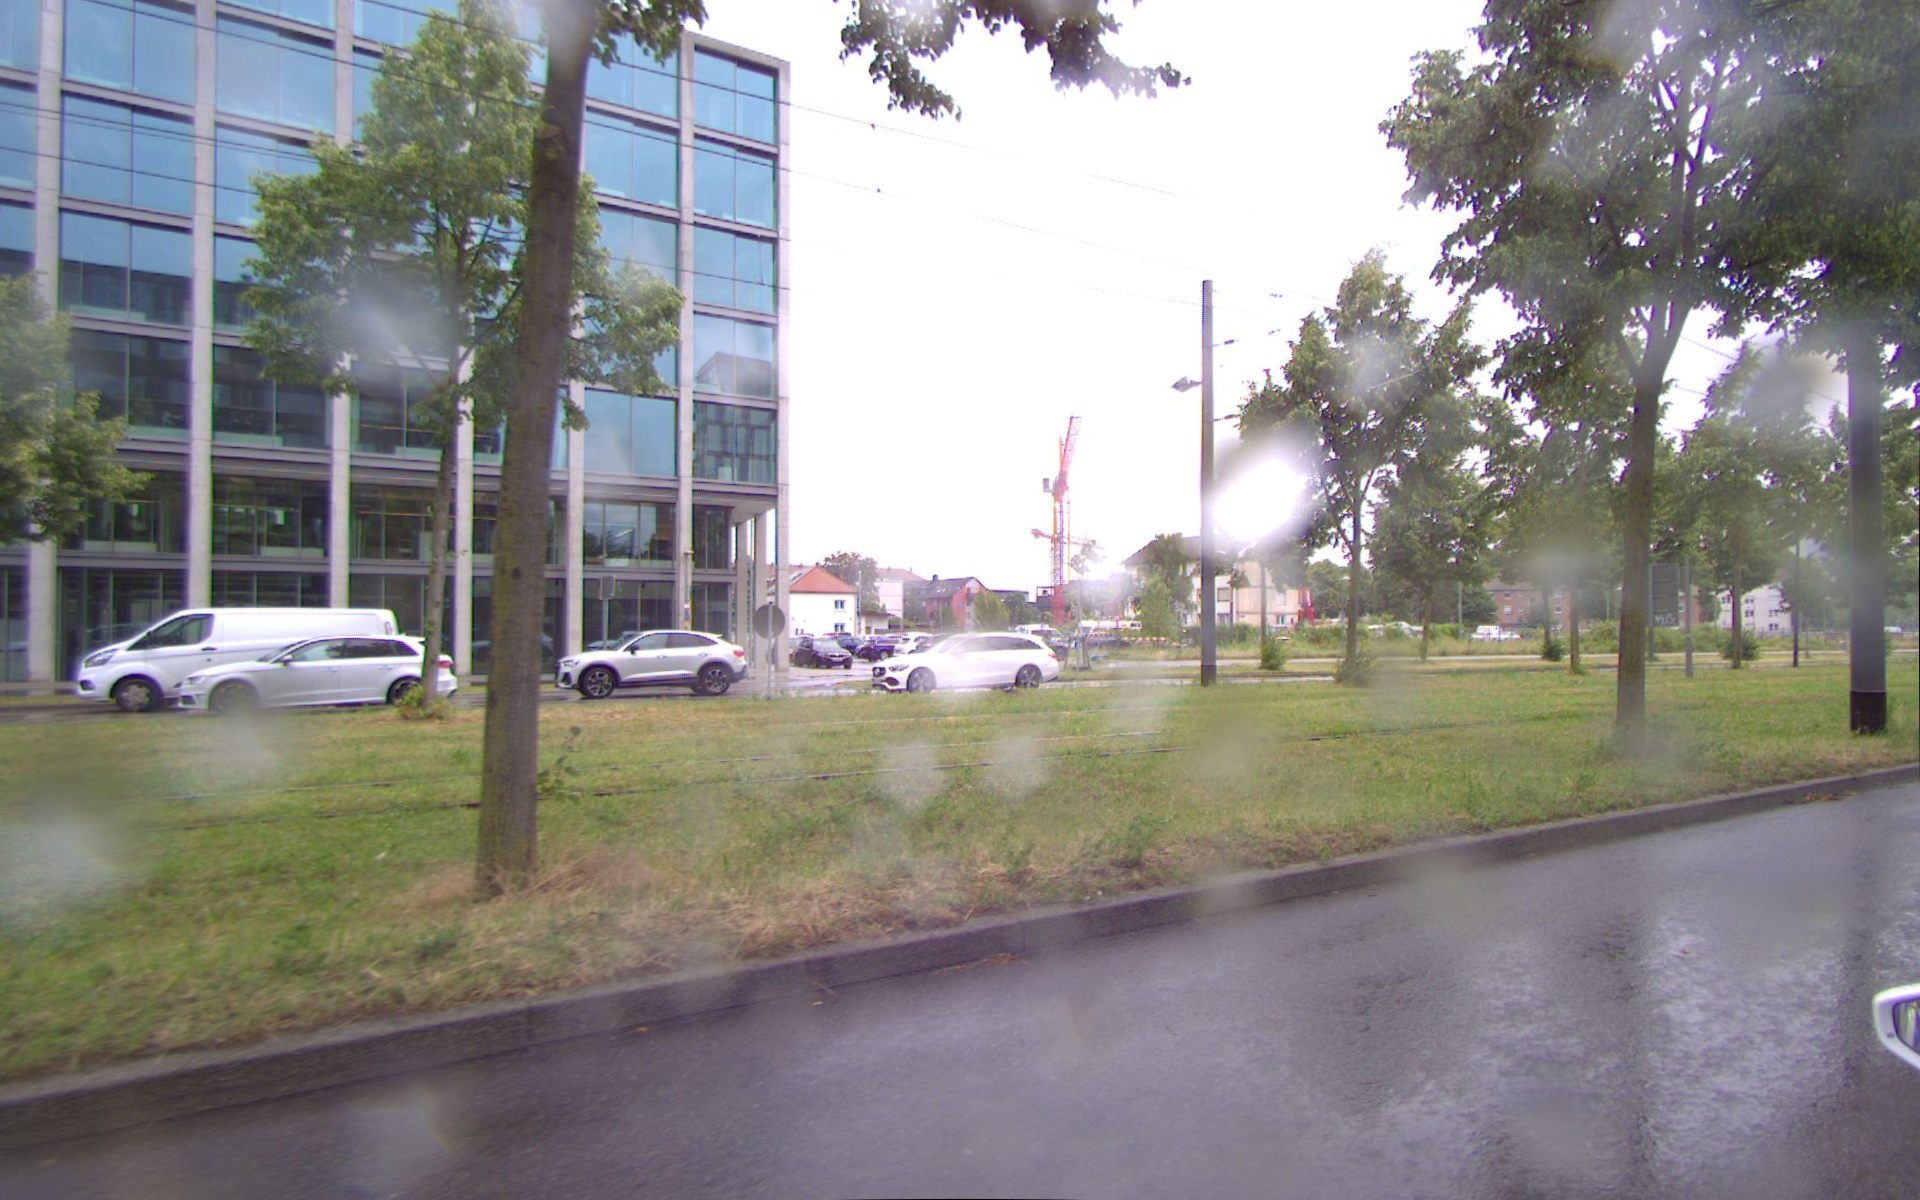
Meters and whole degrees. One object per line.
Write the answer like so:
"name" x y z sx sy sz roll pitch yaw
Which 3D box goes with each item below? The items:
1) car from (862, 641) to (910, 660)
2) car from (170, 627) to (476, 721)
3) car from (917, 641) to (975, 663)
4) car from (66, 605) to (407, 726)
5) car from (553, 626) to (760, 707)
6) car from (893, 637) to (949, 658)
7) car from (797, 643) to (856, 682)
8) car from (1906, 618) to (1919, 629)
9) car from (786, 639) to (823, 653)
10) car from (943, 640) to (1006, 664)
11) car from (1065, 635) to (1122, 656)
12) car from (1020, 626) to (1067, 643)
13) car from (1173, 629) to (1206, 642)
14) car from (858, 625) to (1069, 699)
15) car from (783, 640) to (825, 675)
"car" -4.687 3.175 63.811 2.824 1.030 1.152 -2 0 -27
"car" -11.512 1.268 18.518 4.523 1.533 1.941 1 -1 -31
"car" -0.792 2.948 56.908 2.978 1.087 1.285 -2 0 -27
"car" -14.334 1.222 20.441 5.307 2.033 2.258 -2 0 -29
"car" -7.280 1.523 24.179 4.517 1.772 1.944 1 -1 -27
"car" -2.290 2.772 59.187 2.978 1.087 1.285 -2 0 -27
"car" -6.449 2.955 48.206 1.721 1.630 3.777 -2 0 -26
"car" 156.422 3.787 163.302 3.486 1.762 1.700 -2 0 37
"car" -12.847 3.782 83.187 2.824 1.030 1.152 -2 0 -27
"car" 0.802 2.766 53.981 3.177 1.082 1.182 -2 0 -27
"car" 9.842 3.342 74.220 3.848 1.368 1.685 -2 0 -25
"car" 7.453 3.087 89.939 3.848 1.368 1.685 -2 0 -25
"car" 21.325 3.297 93.418 2.770 1.123 1.227 -2 0 -25
"car" 0.110 1.453 24.538 4.767 1.480 1.944 -2 0 -27
"car" -8.474 3.059 54.401 1.715 1.630 4.634 -2 0 -15
